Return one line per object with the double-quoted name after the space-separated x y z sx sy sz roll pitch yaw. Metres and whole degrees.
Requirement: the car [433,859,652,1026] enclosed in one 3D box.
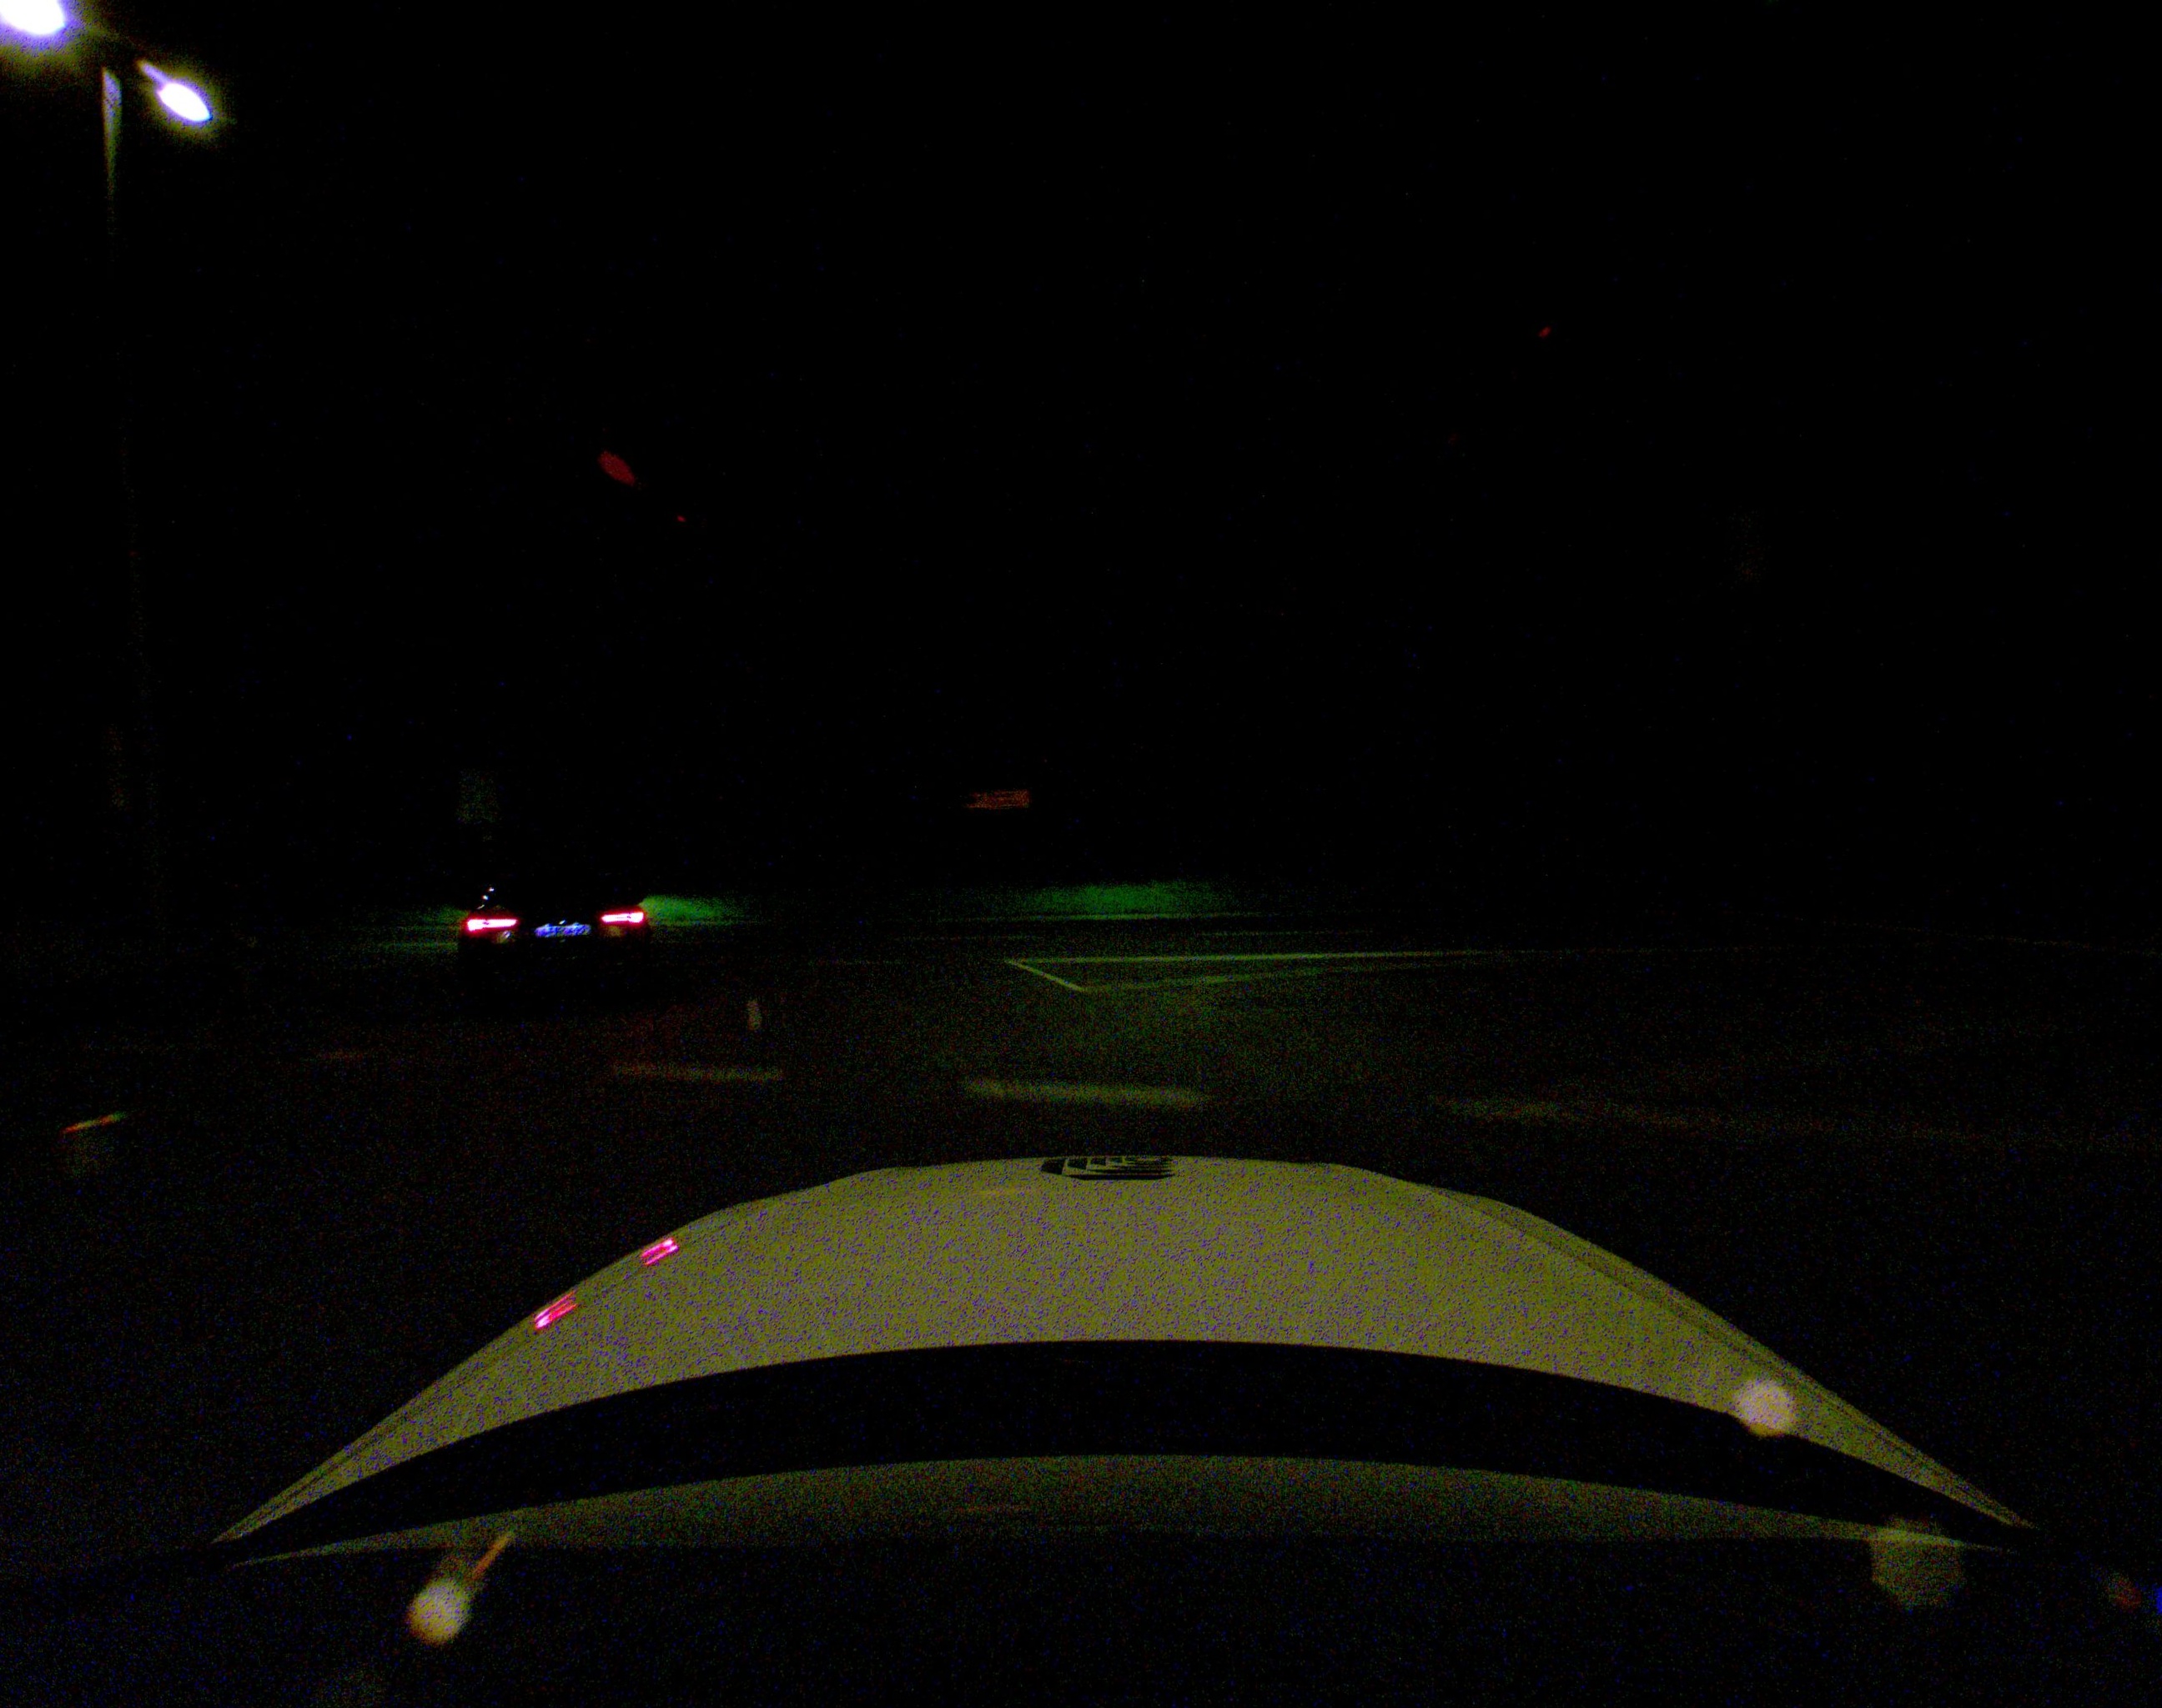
-6.437 0.888 10.132 1.863 1.582 3.969 -1 0 -29 "car"
